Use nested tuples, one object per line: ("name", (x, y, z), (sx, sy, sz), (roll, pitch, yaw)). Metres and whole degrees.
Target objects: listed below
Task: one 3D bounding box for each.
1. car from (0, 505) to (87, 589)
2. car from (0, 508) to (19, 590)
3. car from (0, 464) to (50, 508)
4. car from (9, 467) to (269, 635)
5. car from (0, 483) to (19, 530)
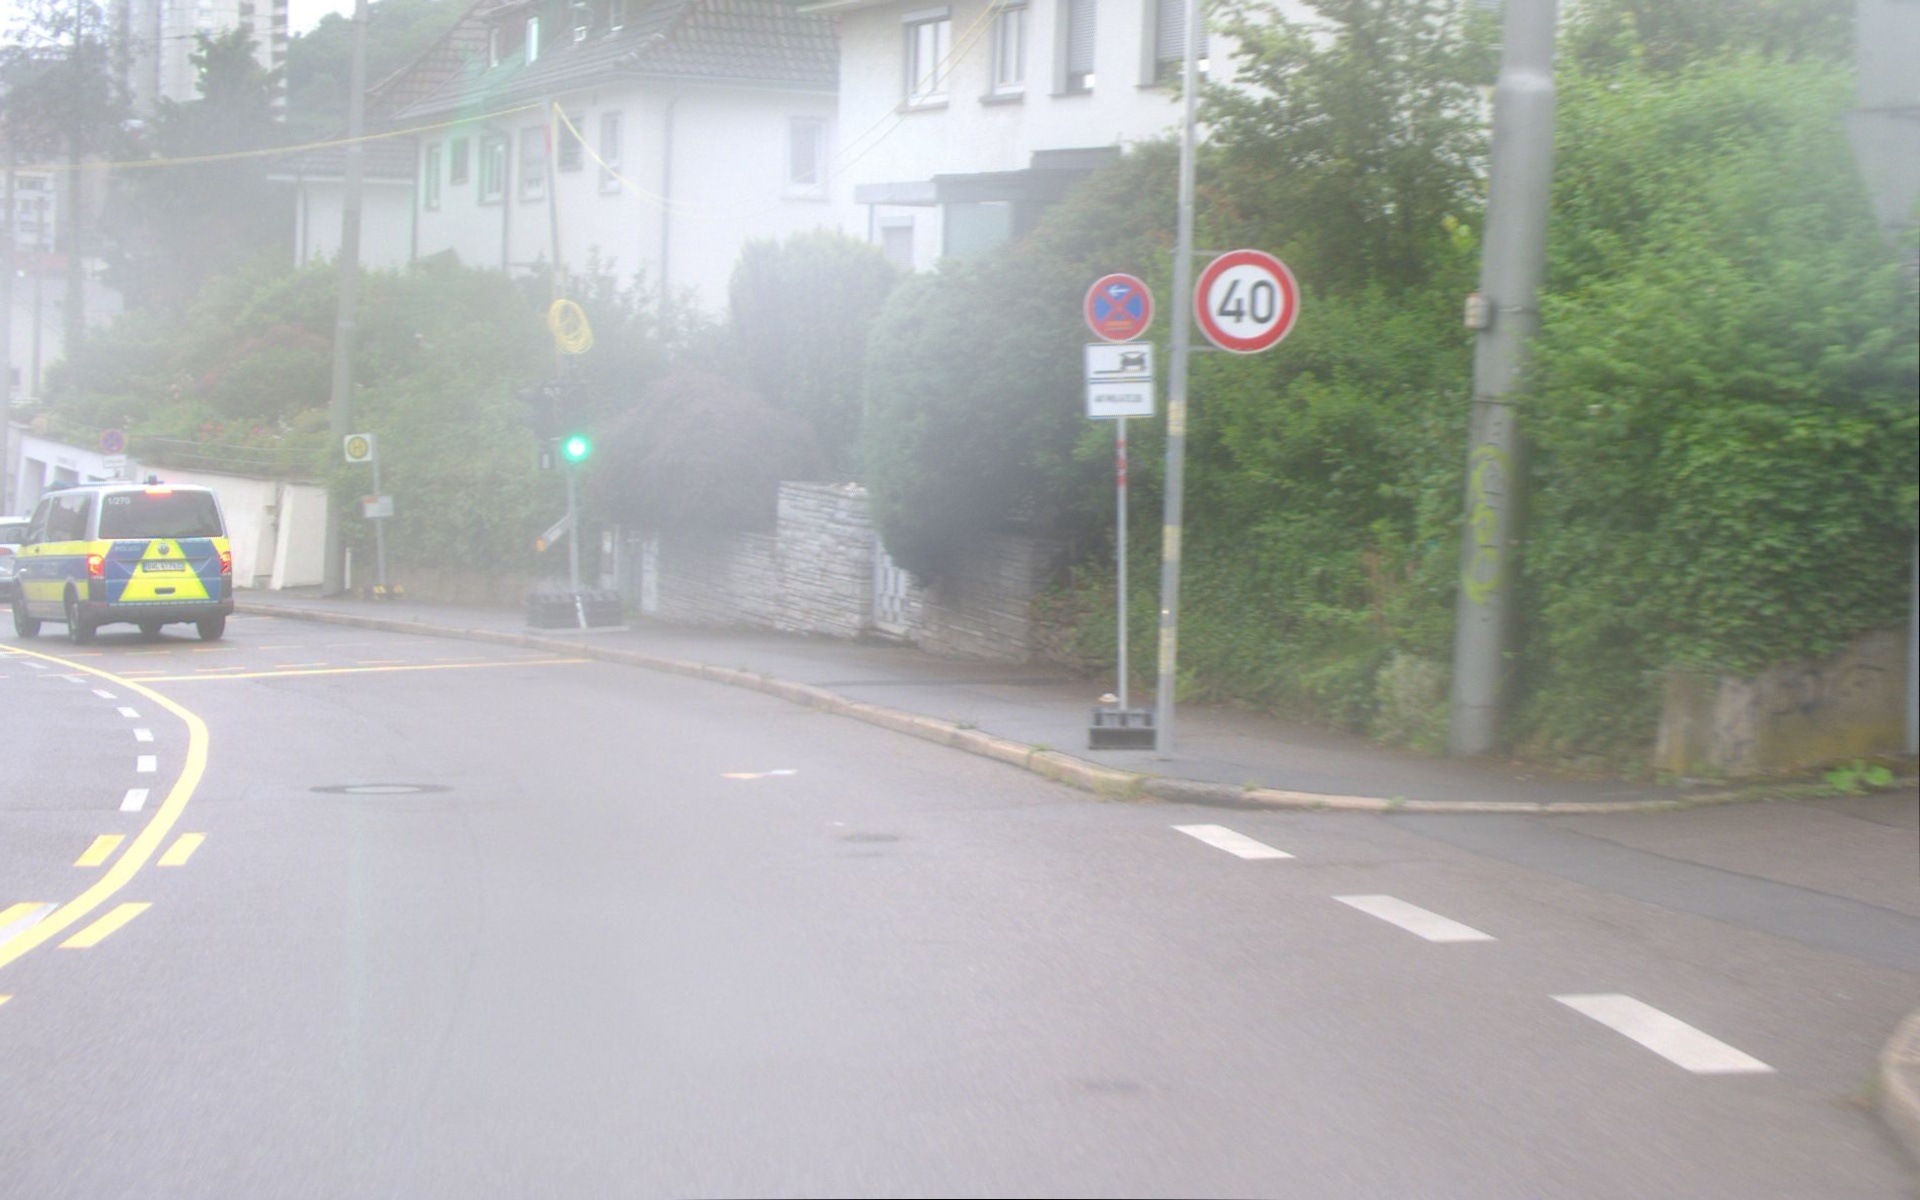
("car", (-16.771, -0.957, 60.364), (1.781, 1.415, 4.431), (-1, 2, -28))
("car", (-19.145, -0.981, 64.766), (1.714, 1.508, 4.000), (-1, 2, -31))
("car", (-37.857, -4.501, 134.695), (1.931, 1.625, 4.674), (5, 2, 18))
("car", (-10.427, -0.676, 43.460), (2.308, 1.932, 4.326), (-3, 3, -25))
("car", (-31.572, -3.001, 109.205), (1.679, 1.478, 4.200), (4, 2, 7))
